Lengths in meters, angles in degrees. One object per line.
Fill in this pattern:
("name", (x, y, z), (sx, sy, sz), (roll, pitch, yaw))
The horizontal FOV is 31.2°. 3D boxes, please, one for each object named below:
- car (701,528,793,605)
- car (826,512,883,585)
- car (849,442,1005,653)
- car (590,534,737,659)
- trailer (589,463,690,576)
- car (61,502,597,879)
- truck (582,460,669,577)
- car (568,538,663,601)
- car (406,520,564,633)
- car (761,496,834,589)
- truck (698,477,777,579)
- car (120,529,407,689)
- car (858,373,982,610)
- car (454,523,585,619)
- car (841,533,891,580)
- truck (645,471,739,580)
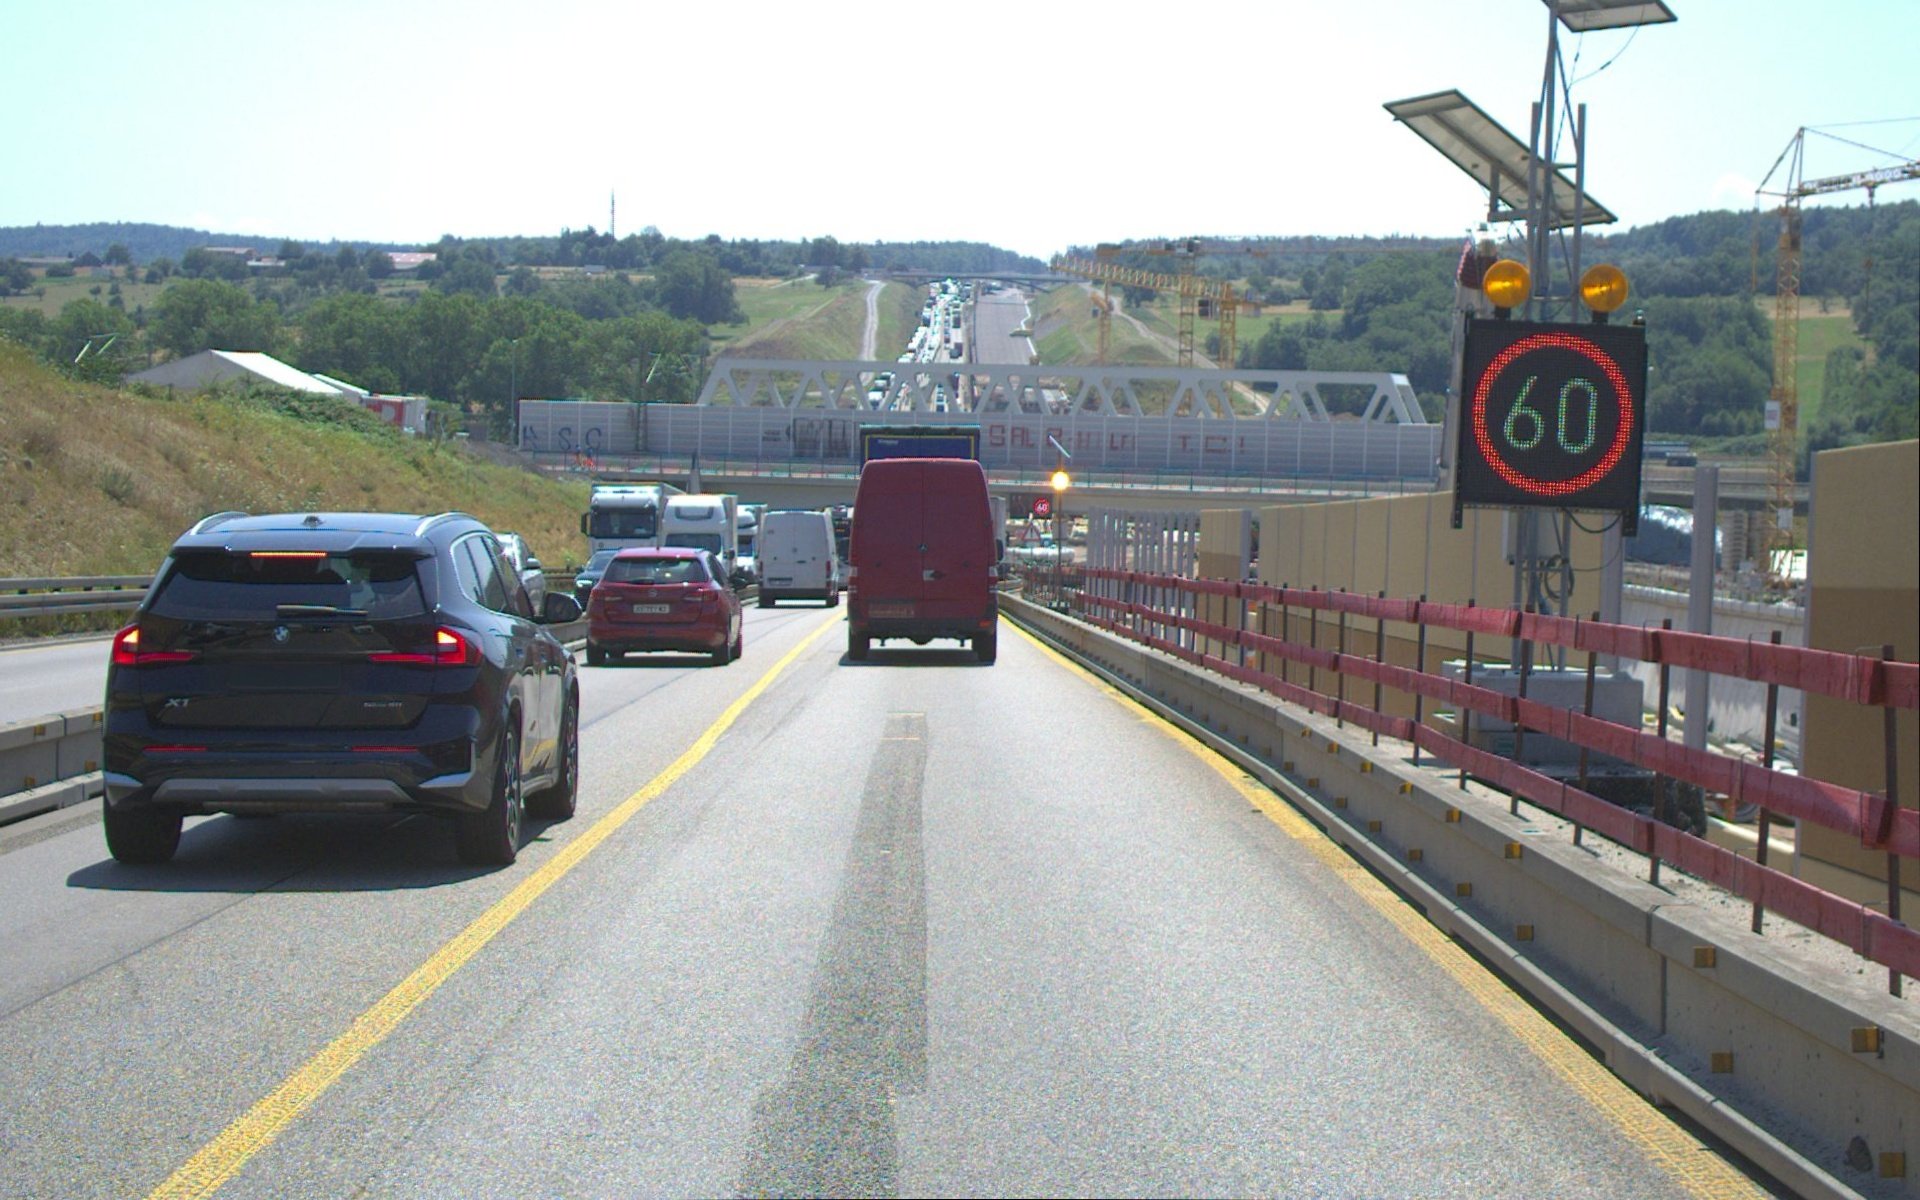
("car", (-4.635, -0.760, 75.320), (1.839, 1.648, 4.165), (0, 1, -1))
("car", (-3.406, -1.687, 111.961), (1.776, 2.322, 4.206), (0, 1, -1))
("car", (-0.450, -0.709, 46.148), (1.988, 2.681, 4.624), (0, 1, -1))
("car", (-3.755, -0.087, 43.788), (1.775, 1.512, 4.207), (0, 1, -4))
("trailer", (-12.004, -3.013, 129.934), (2.698, 4.011, 13.703), (1, 1, -1))
("car", (-2.948, 0.347, 17.020), (1.879, 1.612, 4.499), (0, 1, -1))
("truck", (-11.888, -2.882, 122.401), (2.698, 4.036, 3.955), (1, 1, -1))
("car", (-7.961, -0.729, 79.796), (1.797, 1.422, 4.950), (0, 1, -1))
("car", (-7.383, -0.391, 53.833), (1.845, 1.660, 4.689), (1, 1, -1))
("car", (-4.304, -1.533, 91.553), (1.776, 2.433, 4.206), (0, 1, -1))
("truck", (-8.401, -2.723, 130.622), (2.589, 3.745, 7.359), (1, 1, -1))
("car", (-7.063, 0.044, 35.386), (1.955, 1.494, 5.090), (1, 1, -1))
("car", (-0.912, -2.401, 78.196), (2.621, 5.015, 10.397), (0, 1, -1))
("car", (-7.974, -0.553, 62.512), (1.845, 1.660, 4.389), (1, 1, -1))
("car", (-3.413, -1.591, 125.186), (1.776, 1.664, 4.029), (0, 1, -1))
("truck", (-8.572, -2.387, 110.620), (2.538, 3.362, 7.038), (1, 1, -1))
